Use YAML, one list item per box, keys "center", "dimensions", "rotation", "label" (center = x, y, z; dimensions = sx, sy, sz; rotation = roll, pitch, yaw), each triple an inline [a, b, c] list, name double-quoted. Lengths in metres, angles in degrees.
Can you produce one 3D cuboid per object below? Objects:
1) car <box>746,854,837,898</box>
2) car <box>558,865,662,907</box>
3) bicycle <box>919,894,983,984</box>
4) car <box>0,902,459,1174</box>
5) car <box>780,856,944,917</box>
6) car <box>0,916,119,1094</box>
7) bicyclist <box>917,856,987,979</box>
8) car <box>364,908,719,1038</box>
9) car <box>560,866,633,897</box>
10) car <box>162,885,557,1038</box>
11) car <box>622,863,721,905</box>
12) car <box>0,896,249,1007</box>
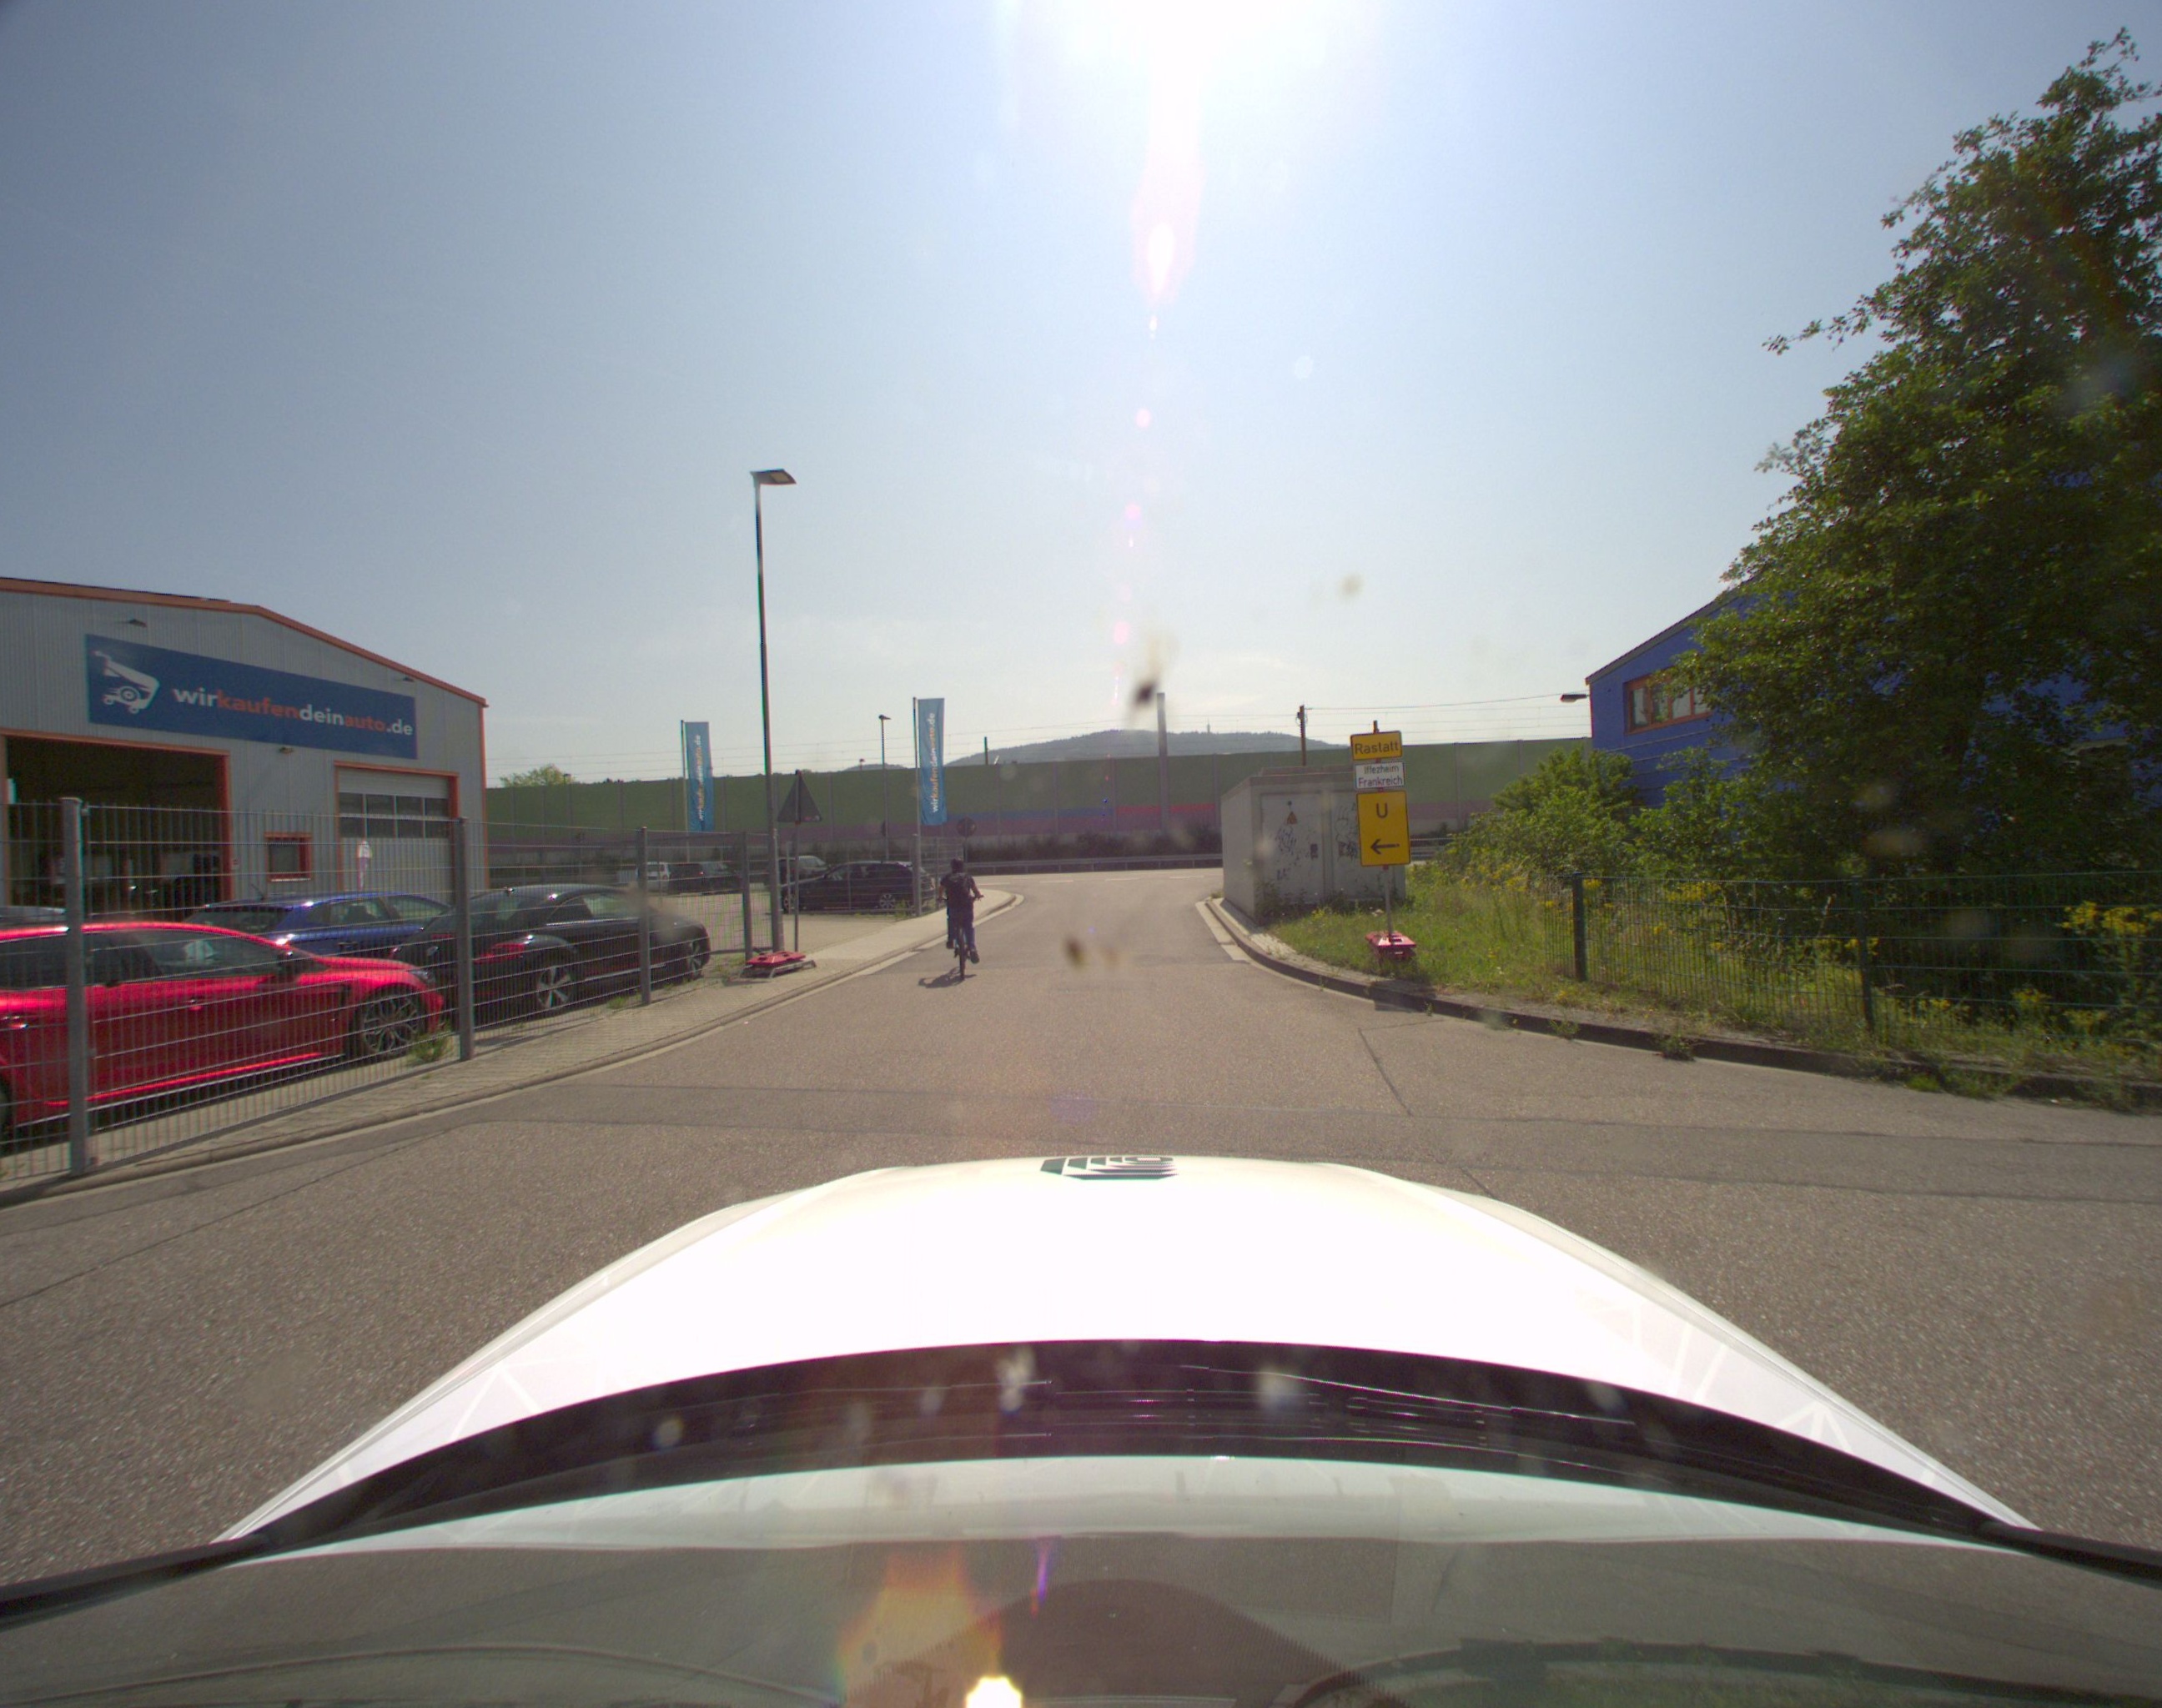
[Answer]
- center: [-11.871, 0.871, 33.703]
  dimensions: [1.984, 1.581, 4.006]
  rotation: [-2, 0, 5]
  label: "car"
- center: [-20.873, 1.385, 36.285]
  dimensions: [1.984, 1.581, 4.006]
  rotation: [-2, 0, 5]
  label: "car"
- center: [-1.784, 1.142, 11.447]
  dimensions: [0.684, 1.051, 1.898]
  rotation: [-2, 0, -4]
  label: "bicycle"
- center: [-7.163, 1.207, 5.869]
  dimensions: [1.860, 1.386, 4.121]
  rotation: [-2, 0, 7]
  label: "car"
- center: [-6.217, 0.911, 23.366]
  dimensions: [3.962, 1.492, 2.006]
  rotation: [-2, 0, 10]
  label: "car"
- center: [-9.920, 1.324, 5.756]
  dimensions: [1.736, 1.404, 3.610]
  rotation: [-2, 0, 7]
  label: "car"
- center: [-1.783, 0.857, 11.409]
  dimensions: [0.841, 1.618, 1.037]
  rotation: [-2, -1, -4]
  label: "bicyclist"
- center: [-6.557, 1.385, 10.552]
  dimensions: [1.476, 1.007, 4.121]
  rotation: [-2, 0, 7]
  label: "car"
- center: [-29.991, 1.683, 50.528]
  dimensions: [1.689, 1.657, 4.009]
  rotation: [-2, 0, 8]
  label: "car"
- center: [-9.188, 1.266, 10.885]
  dimensions: [1.476, 1.454, 3.901]
  rotation: [-2, 0, 7]
  label: "car"
- center: [-17.750, 1.259, 35.524]
  dimensions: [1.984, 1.581, 4.006]
  rotation: [-2, 0, 5]
  label: "car"
- center: [-16.600, 1.554, 13.418]
  dimensions: [1.476, 1.454, 3.901]
  rotation: [-2, 0, 7]
  label: "car"
